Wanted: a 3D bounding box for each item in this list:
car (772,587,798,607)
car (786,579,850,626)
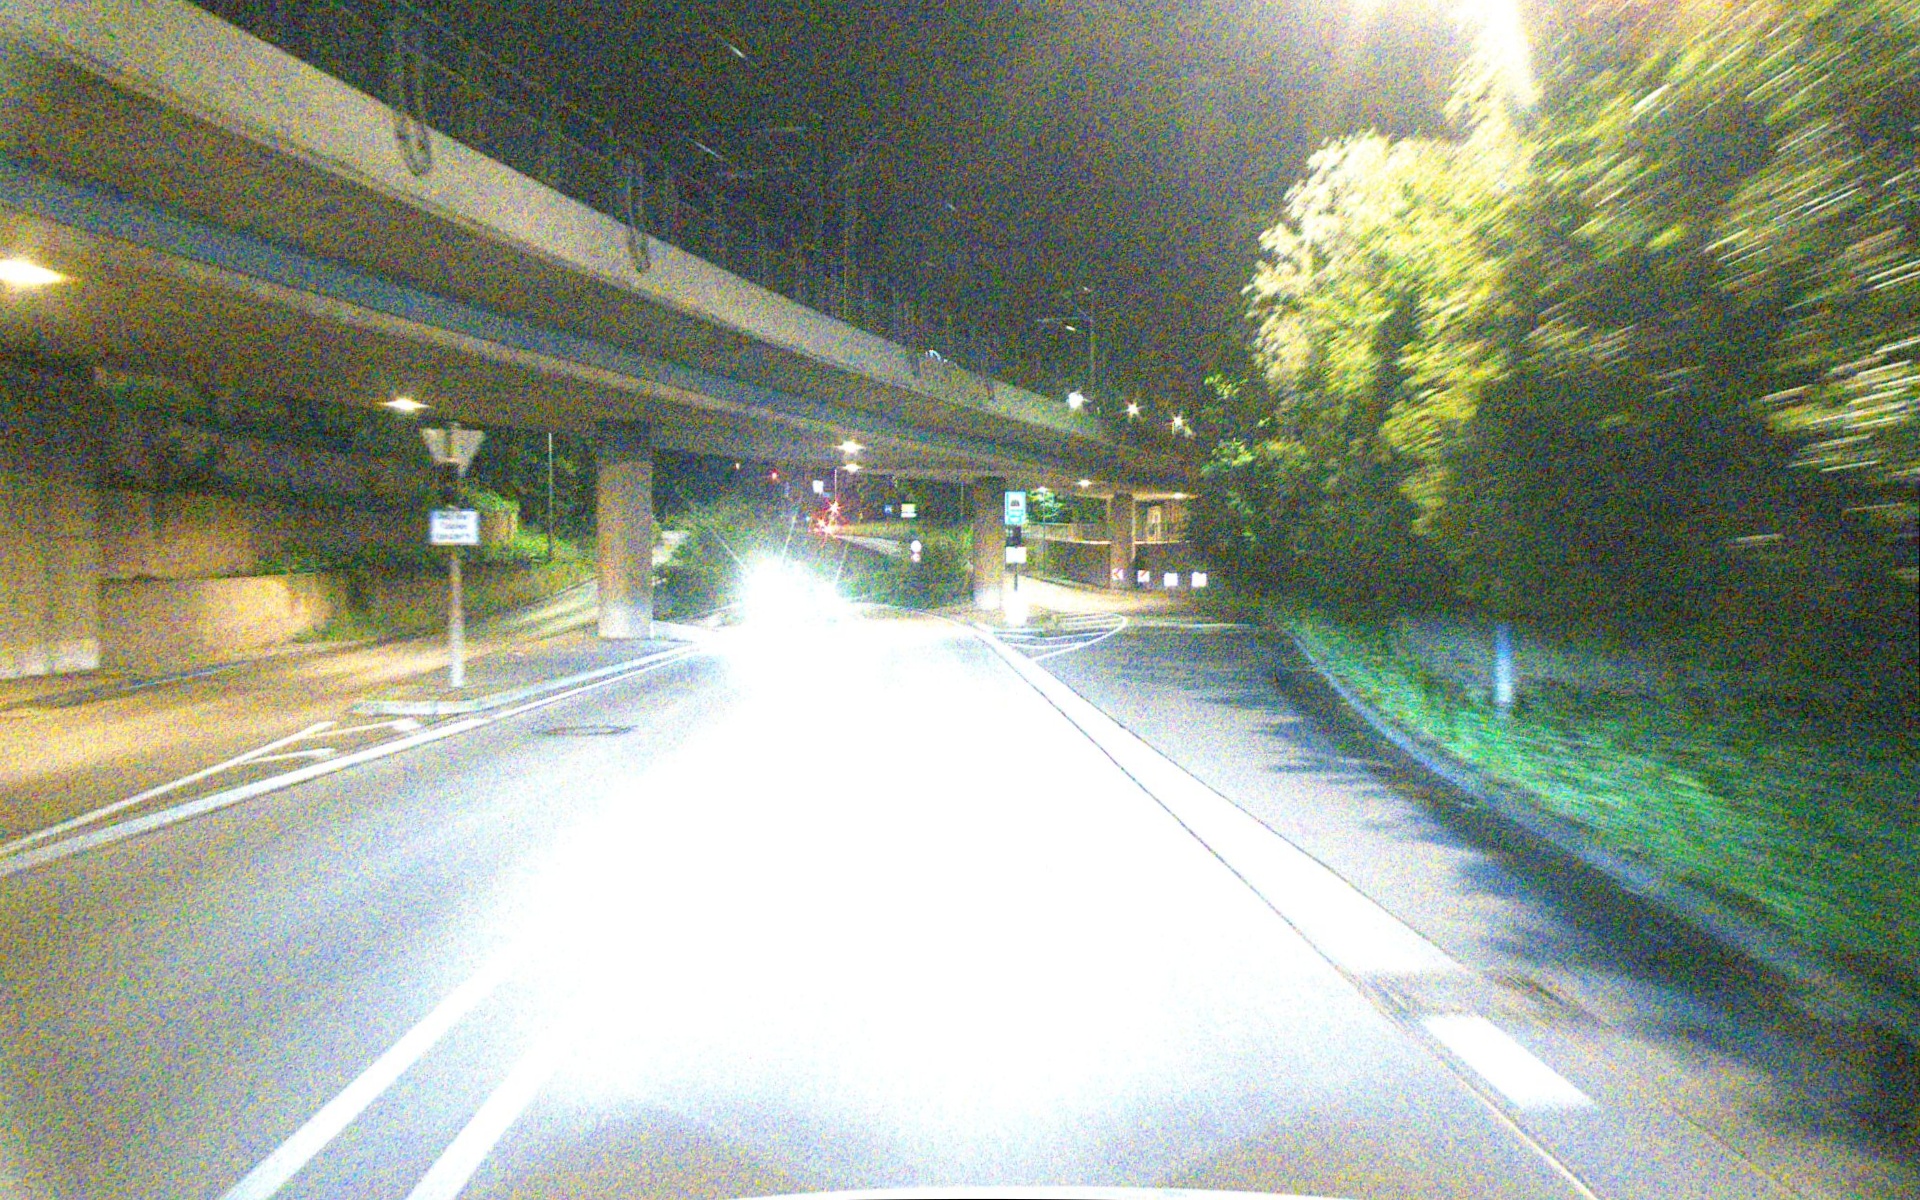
[{"bbox_3d":[-13.433,-0.229,126.797,1.754,1.473,4.164,0,-1,-8],"label":"car"},{"bbox_3d":[-5.046,0.092,59.302,1.843,1.581,4.218,-1,0,1],"label":"car"}]
